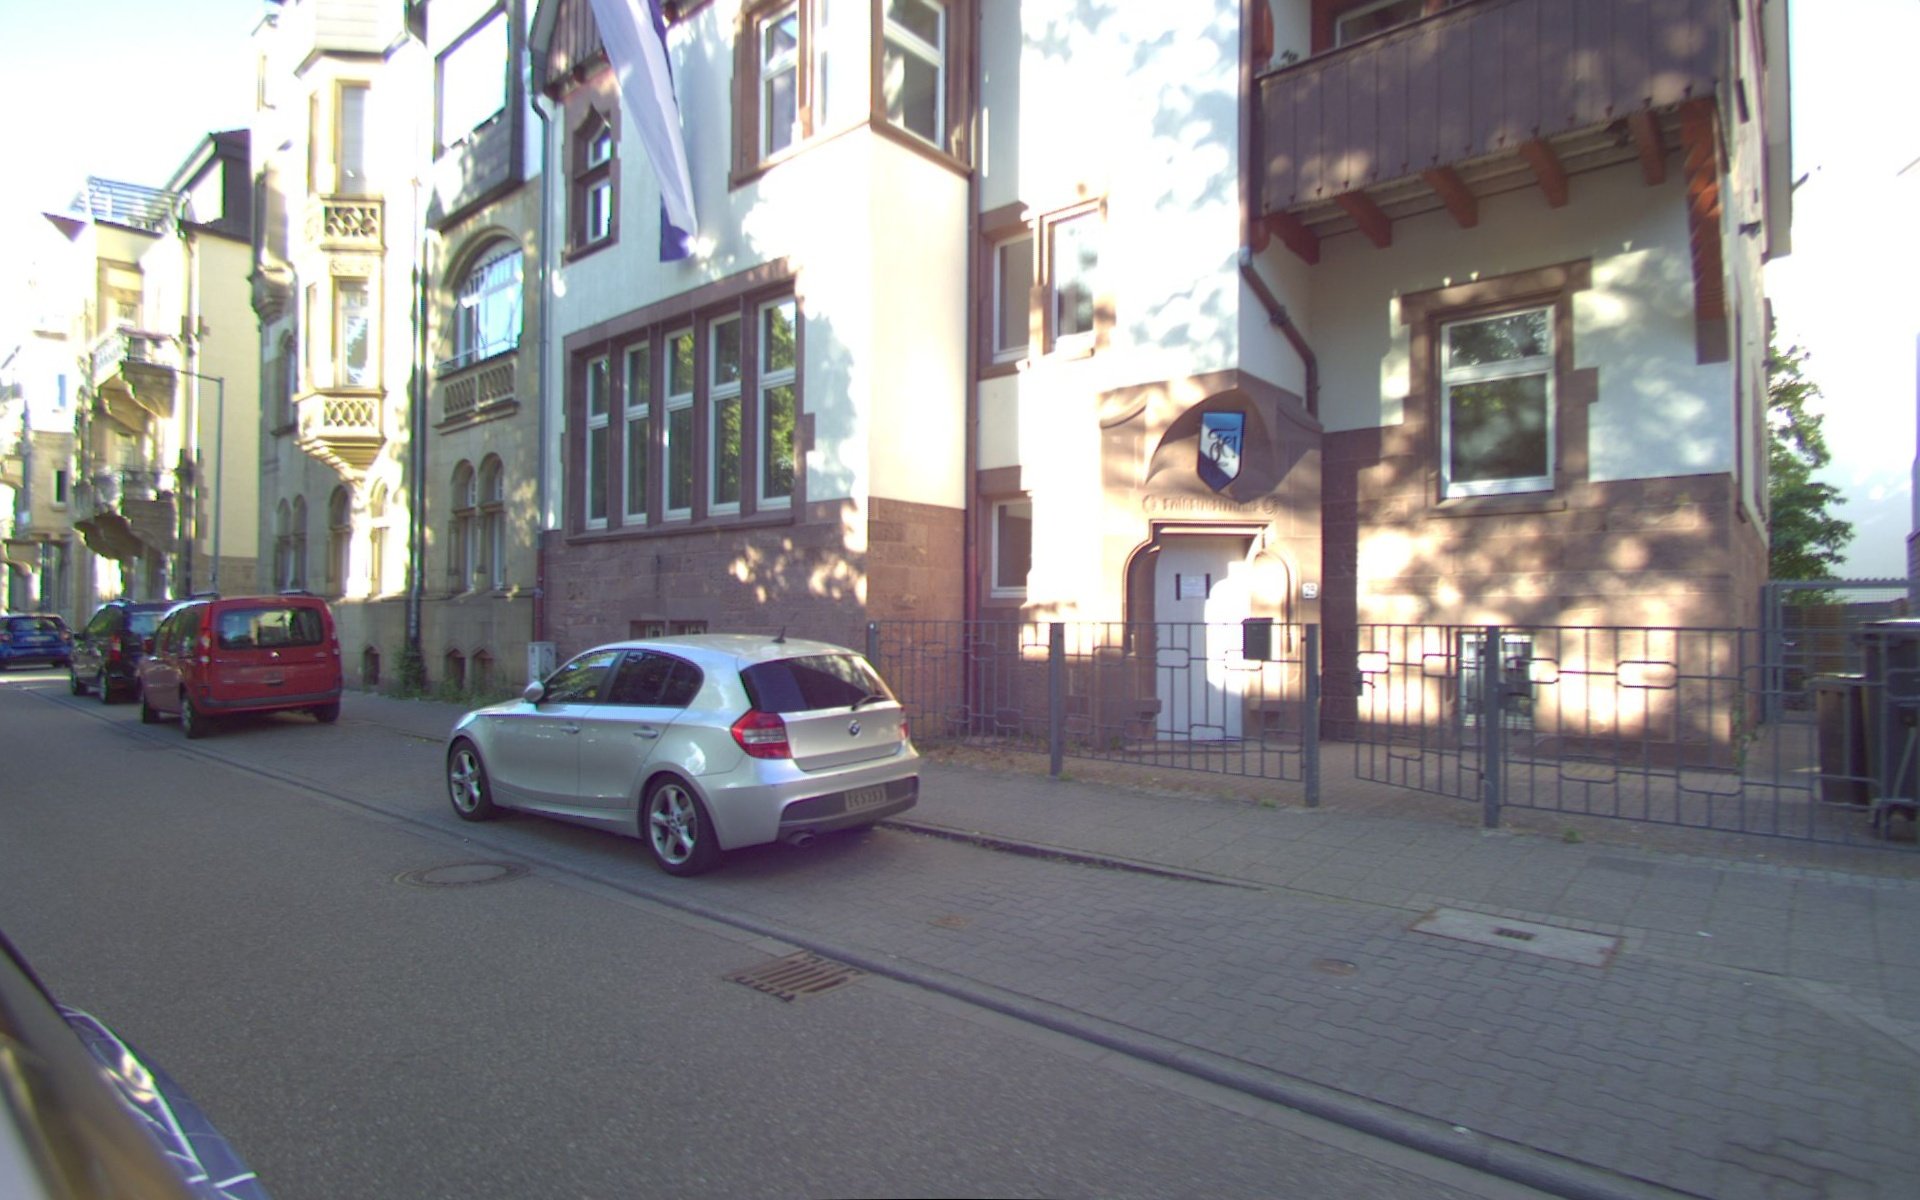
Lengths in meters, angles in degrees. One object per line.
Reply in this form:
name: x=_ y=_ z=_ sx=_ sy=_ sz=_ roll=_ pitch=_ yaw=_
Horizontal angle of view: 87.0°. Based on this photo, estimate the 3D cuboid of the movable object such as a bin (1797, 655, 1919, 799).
movable object such as a bin: x=6.140 y=0.829 z=6.823 sx=0.474 sy=0.885 sz=0.674 roll=0 pitch=-1 yaw=-40

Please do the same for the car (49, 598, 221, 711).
car: x=-15.541 y=0.945 z=18.985 sx=4.539 sy=1.866 sz=1.751 roll=-1 pitch=-1 yaw=41

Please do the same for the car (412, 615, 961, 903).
car: x=-2.126 y=0.867 z=7.246 sx=4.098 sy=1.477 sz=1.727 roll=-1 pitch=-1 yaw=39

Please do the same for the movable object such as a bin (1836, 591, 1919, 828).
movable object such as a bin: x=5.910 y=0.605 z=5.922 sx=1.358 sy=1.309 sz=0.970 roll=0 pitch=-1 yaw=-40

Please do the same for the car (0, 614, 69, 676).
car: x=-25.645 y=1.192 z=27.554 sx=2.859 sy=1.520 sz=1.667 roll=-1 pitch=2 yaw=41

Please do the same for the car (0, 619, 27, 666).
car: x=-32.328 y=1.410 z=33.253 sx=4.538 sy=1.449 sz=1.881 roll=-1 pitch=2 yaw=40

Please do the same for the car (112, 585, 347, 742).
car: x=-10.571 y=0.798 z=14.529 sx=4.322 sy=1.921 sz=1.780 roll=-1 pitch=0 yaw=41

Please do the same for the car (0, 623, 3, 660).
car: x=-36.848 y=1.517 z=37.324 sx=3.769 sy=1.477 sz=1.674 roll=-1 pitch=3 yaw=39

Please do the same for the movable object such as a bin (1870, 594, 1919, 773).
movable object such as a bin: x=7.743 y=0.622 z=7.923 sx=0.685 sy=1.327 sz=1.368 roll=-1 pitch=-1 yaw=33

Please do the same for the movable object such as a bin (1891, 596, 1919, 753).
movable object such as a bin: x=8.601 y=0.624 z=8.858 sx=0.631 sy=1.320 sz=1.188 roll=-1 pitch=-1 yaw=42
